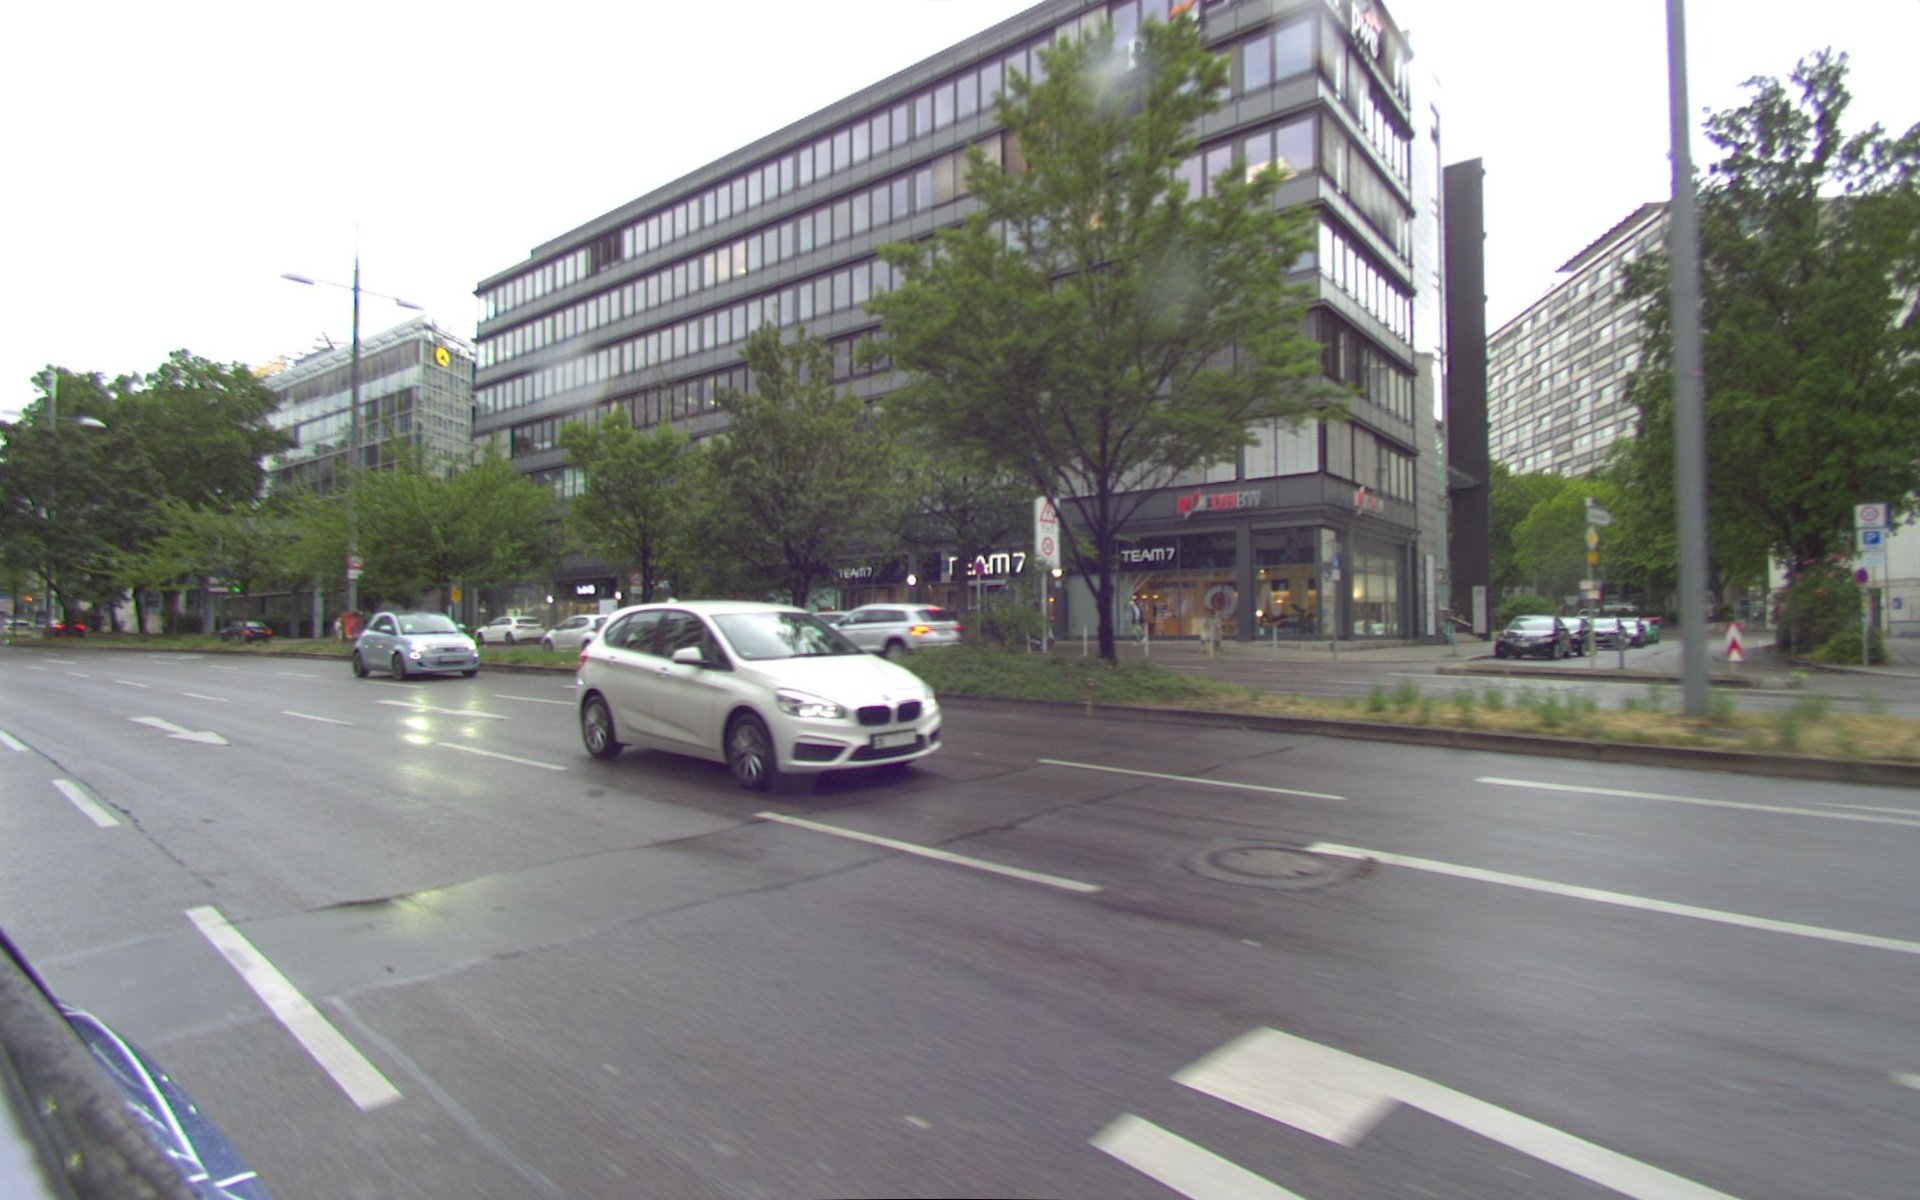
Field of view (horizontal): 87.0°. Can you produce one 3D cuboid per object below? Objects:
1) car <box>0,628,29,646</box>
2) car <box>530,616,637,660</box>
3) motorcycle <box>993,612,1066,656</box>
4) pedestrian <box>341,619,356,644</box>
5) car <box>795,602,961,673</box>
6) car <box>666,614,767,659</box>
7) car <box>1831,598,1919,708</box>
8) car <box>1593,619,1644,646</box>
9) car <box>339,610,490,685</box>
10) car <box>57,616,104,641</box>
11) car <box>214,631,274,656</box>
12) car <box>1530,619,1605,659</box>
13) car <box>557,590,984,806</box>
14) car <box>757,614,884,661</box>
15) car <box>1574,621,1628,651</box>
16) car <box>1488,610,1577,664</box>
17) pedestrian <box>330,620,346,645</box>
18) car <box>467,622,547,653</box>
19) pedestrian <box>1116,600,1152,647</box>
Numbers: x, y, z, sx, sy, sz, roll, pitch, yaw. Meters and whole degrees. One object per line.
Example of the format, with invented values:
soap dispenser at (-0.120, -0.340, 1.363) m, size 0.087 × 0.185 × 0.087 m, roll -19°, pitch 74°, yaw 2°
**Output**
car at (-81.615, 3.149, 86.894) m, size 4.305 × 1.445 × 1.711 m, roll -1°, pitch -1°, yaw 37°
car at (-13.380, 1.327, 35.860) m, size 4.077 × 1.442 × 1.667 m, roll -1°, pitch -1°, yaw 38°
motorcycle at (2.352, 1.140, 34.014) m, size 2.345 × 1.404 × 0.856 m, roll -1°, pitch 2°, yaw 13°
pedestrian at (-44.970, 2.308, 74.429) m, size 0.924 × 1.846 × 0.720 m, roll -1°, pitch 0°, yaw 39°
car at (-2.258, 0.965, 27.148) m, size 4.489 × 1.741 × 1.720 m, roll -1°, pitch 0°, yaw 39°
car at (-9.866, 1.437, 40.898) m, size 4.307 × 1.673 × 1.790 m, roll -1°, pitch 0°, yaw 41°
car at (14.485, 0.734, 13.714) m, size 1.978 × 1.556 × 4.468 m, roll -1°, pitch -1°, yaw 10°
car at (34.954, 1.703, 53.687) m, size 1.845 × 1.298 × 3.947 m, roll -1°, pitch 0°, yaw 39°
car at (-12.568, 1.043, 23.242) m, size 3.687 × 1.585 × 1.766 m, roll -2°, pitch -1°, yaw 39°
car at (-67.828, 2.141, 78.049) m, size 4.711 × 1.527 × 1.792 m, roll 5°, pitch 2°, yaw 37°
car at (-44.332, 2.691, 62.630) m, size 4.294 × 1.487 × 1.792 m, roll -1°, pitch -1°, yaw 37°
car at (22.531, 1.409, 37.481) m, size 1.845 × 1.298 × 3.948 m, roll -1°, pitch 0°, yaw 39°
car at (-1.959, 0.769, 9.540) m, size 4.287 × 1.585 × 1.764 m, roll -2°, pitch -2°, yaw 43°
car at (-5.143, 1.344, 36.976) m, size 4.768 × 1.496 × 1.791 m, roll -1°, pitch 2°, yaw 39°
car at (31.330, 1.741, 49.418) m, size 1.845 × 1.298 × 3.949 m, roll -1°, pitch 0°, yaw 38°
car at (19.279, 1.200, 33.990) m, size 1.998 × 1.652 × 3.948 m, roll -1°, pitch 0°, yaw 39°
pedestrian at (-45.326, 2.362, 73.724) m, size 0.924 × 1.812 × 0.720 m, roll -1°, pitch 0°, yaw 39°
car at (-22.874, 1.891, 51.076) m, size 4.301 × 1.455 × 1.793 m, roll -1°, pitch 0°, yaw 36°
pedestrian at (6.177, 0.845, 35.948) m, size 0.965 × 1.650 × 0.776 m, roll -2°, pitch -2°, yaw 39°
